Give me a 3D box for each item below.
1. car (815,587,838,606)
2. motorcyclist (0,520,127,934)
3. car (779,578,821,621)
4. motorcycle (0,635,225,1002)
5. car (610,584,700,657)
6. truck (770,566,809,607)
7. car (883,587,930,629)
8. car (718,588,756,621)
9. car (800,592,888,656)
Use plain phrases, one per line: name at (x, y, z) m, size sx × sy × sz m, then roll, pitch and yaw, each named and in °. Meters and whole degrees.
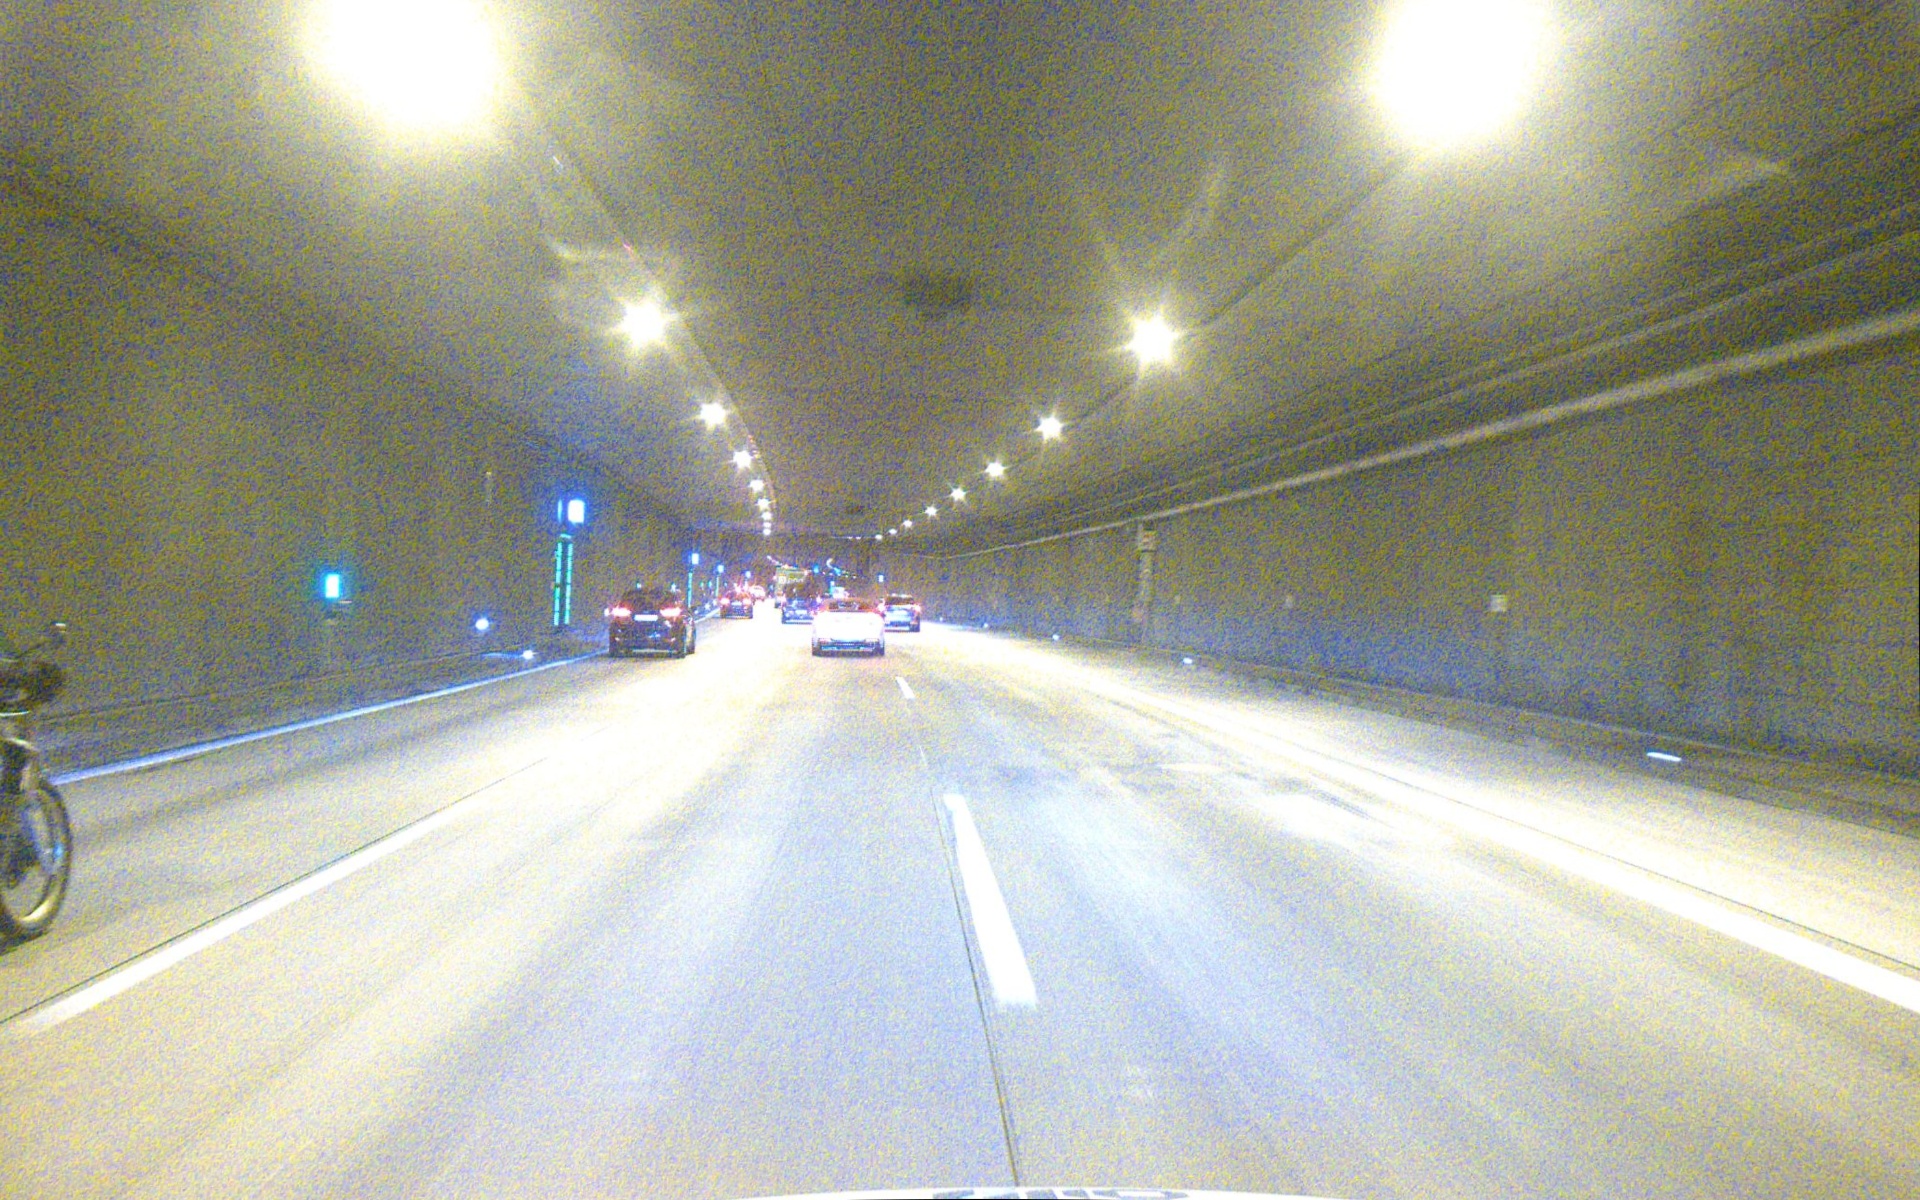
car at (-12.881, -0.327, 159.404) m, size 1.955 × 1.785 × 3.994 m, roll 1°, pitch 0°, yaw -7°
motorcyclist at (-3.841, 0.459, 6.401) m, size 0.822 × 1.503 × 0.821 m, roll 0°, pitch 0°, yaw -1°
car at (-7.652, 0.008, 79.421) m, size 1.954 × 2.006 × 3.996 m, roll 0°, pitch 0°, yaw -5°
motorcycle at (-3.851, 0.805, 6.390) m, size 0.828 × 1.267 × 2.604 m, roll 0°, pitch 0°, yaw 1°
car at (-7.176, 0.454, 39.194) m, size 1.751 × 1.626 × 3.797 m, roll 0°, pitch 0°, yaw -6°
truck at (-13.779, -1.135, 134.262) m, size 3.023 × 3.167 × 10.018 m, roll 1°, pitch 1°, yaw -5°
car at (-2.198, 0.304, 67.091) m, size 1.803 × 1.630 × 3.997 m, roll 1°, pitch 0°, yaw -3°
car at (-11.967, 0.256, 88.799) m, size 1.765 × 1.713 × 3.996 m, roll 1°, pitch 0°, yaw -4°
car at (-2.855, 0.572, 41.386) m, size 1.953 × 1.509 × 3.999 m, roll 1°, pitch 0°, yaw -1°
